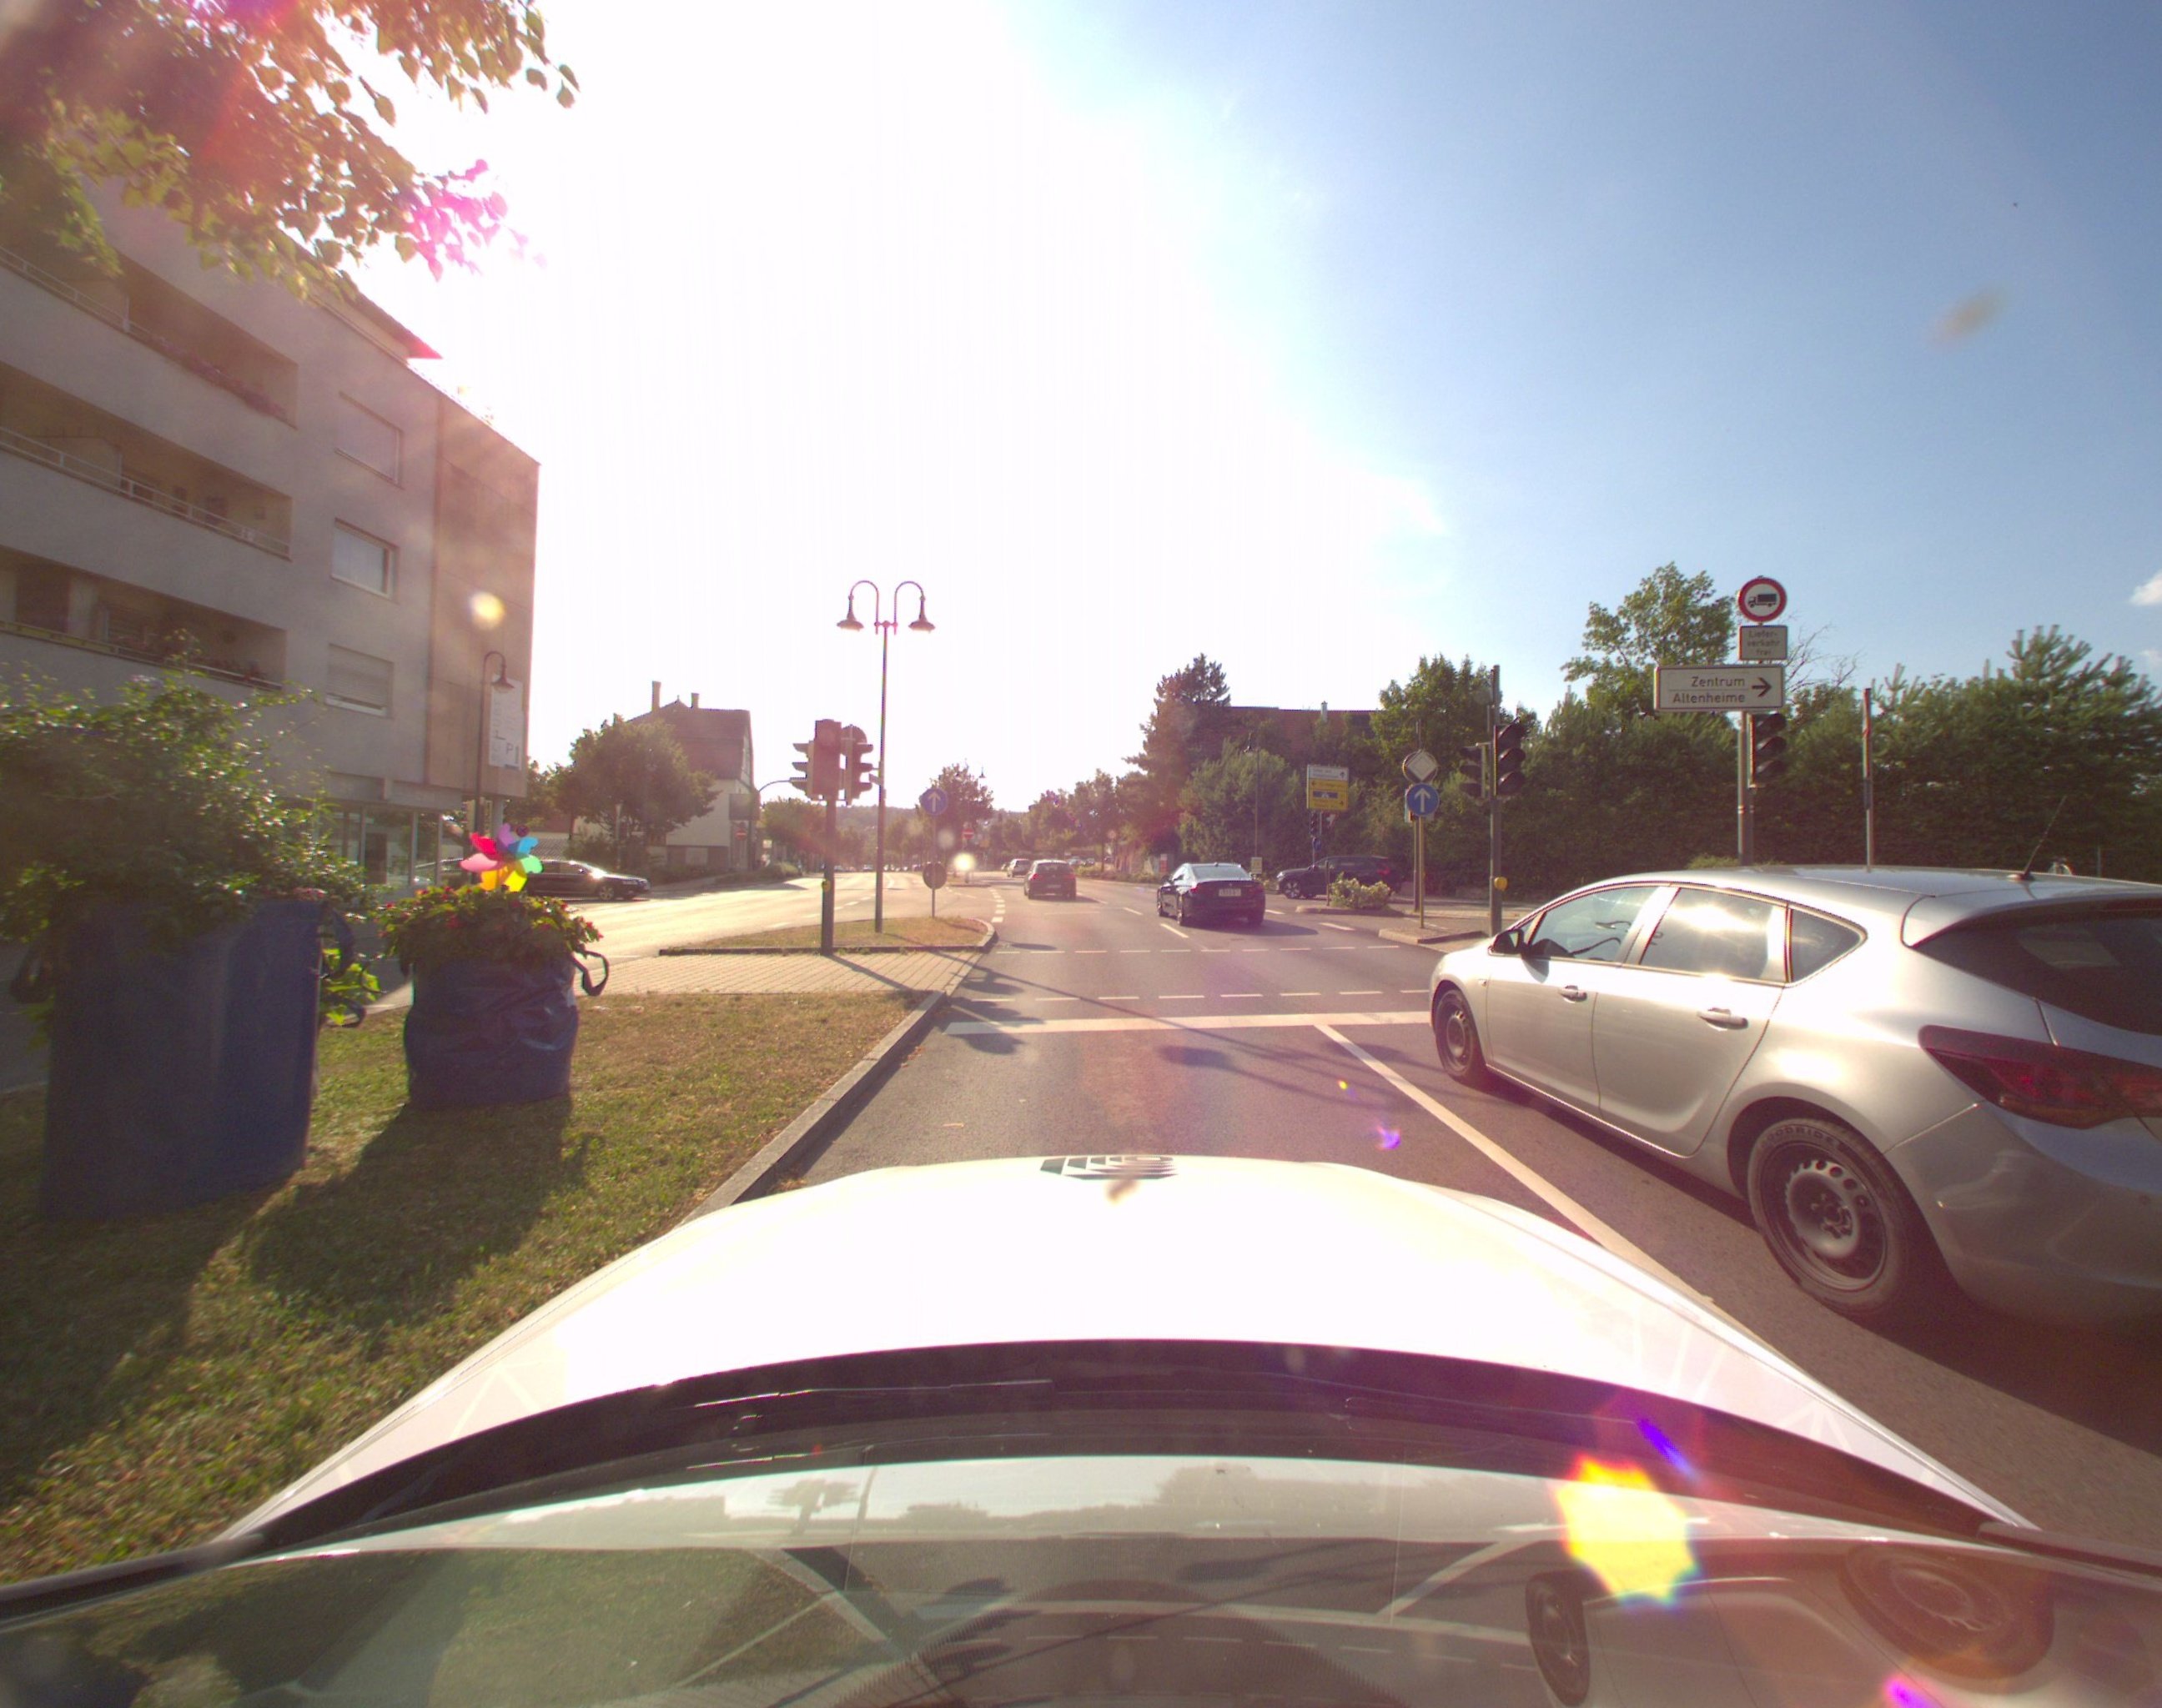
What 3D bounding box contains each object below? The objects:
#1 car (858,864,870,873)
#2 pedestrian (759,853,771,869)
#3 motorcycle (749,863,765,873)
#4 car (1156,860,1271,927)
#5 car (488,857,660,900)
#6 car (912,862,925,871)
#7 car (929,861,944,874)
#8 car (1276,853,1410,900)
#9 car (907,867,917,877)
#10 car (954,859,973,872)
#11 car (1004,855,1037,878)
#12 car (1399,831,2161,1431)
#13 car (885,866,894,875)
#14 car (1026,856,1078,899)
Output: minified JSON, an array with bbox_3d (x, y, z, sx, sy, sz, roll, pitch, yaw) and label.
[{"bbox_3d":[-37.302,2.480,139.961,1.758,1.361,4.465,0,-1,-13],"label":"car"},{"bbox_3d":[-26.660,0.582,68.720,0.814,1.394,0.703,0,-1,-16],"label":"pedestrian"},{"bbox_3d":[-37.153,1.593,93.438,0.511,1.069,1.880,-1,-1,22],"label":"motorcycle"},{"bbox_3d":[2.954,0.842,19.065,1.915,1.364,4.351,0,-1,-1],"label":"car"},{"bbox_3d":[-18.017,0.857,29.163,4.854,1.437,1.912,-1,-1,-7],"label":"car"},{"bbox_3d":[-31.451,2.446,157.134,2.221,1.769,4.431,0,-1,-15],"label":"car"},{"bbox_3d":[-20.063,1.906,113.280,1.759,1.769,3.950,0,-1,-15],"label":"car"},{"bbox_3d":[9.385,0.767,29.325,4.216,1.567,1.804,0,-1,37],"label":"car"},{"bbox_3d":[-35.618,3.726,171.748,1.773,2.014,3.986,0,0,-10],"label":"car"},{"bbox_3d":[-16.306,1.601,112.855,2.221,1.769,4.431,0,-1,-15],"label":"car"},{"bbox_3d":[-5.030,1.019,66.669,1.928,1.769,4.431,0,-1,-15],"label":"car"},{"bbox_3d":[3.284,0.679,4.176,1.715,1.490,4.307,0,0,1],"label":"car"},{"bbox_3d":[-36.457,3.155,155.033,1.732,1.679,3.982,0,-1,-13],"label":"car"},{"bbox_3d":[-1.174,0.854,31.003,1.718,1.490,4.344,0,-1,-5],"label":"car"}]
